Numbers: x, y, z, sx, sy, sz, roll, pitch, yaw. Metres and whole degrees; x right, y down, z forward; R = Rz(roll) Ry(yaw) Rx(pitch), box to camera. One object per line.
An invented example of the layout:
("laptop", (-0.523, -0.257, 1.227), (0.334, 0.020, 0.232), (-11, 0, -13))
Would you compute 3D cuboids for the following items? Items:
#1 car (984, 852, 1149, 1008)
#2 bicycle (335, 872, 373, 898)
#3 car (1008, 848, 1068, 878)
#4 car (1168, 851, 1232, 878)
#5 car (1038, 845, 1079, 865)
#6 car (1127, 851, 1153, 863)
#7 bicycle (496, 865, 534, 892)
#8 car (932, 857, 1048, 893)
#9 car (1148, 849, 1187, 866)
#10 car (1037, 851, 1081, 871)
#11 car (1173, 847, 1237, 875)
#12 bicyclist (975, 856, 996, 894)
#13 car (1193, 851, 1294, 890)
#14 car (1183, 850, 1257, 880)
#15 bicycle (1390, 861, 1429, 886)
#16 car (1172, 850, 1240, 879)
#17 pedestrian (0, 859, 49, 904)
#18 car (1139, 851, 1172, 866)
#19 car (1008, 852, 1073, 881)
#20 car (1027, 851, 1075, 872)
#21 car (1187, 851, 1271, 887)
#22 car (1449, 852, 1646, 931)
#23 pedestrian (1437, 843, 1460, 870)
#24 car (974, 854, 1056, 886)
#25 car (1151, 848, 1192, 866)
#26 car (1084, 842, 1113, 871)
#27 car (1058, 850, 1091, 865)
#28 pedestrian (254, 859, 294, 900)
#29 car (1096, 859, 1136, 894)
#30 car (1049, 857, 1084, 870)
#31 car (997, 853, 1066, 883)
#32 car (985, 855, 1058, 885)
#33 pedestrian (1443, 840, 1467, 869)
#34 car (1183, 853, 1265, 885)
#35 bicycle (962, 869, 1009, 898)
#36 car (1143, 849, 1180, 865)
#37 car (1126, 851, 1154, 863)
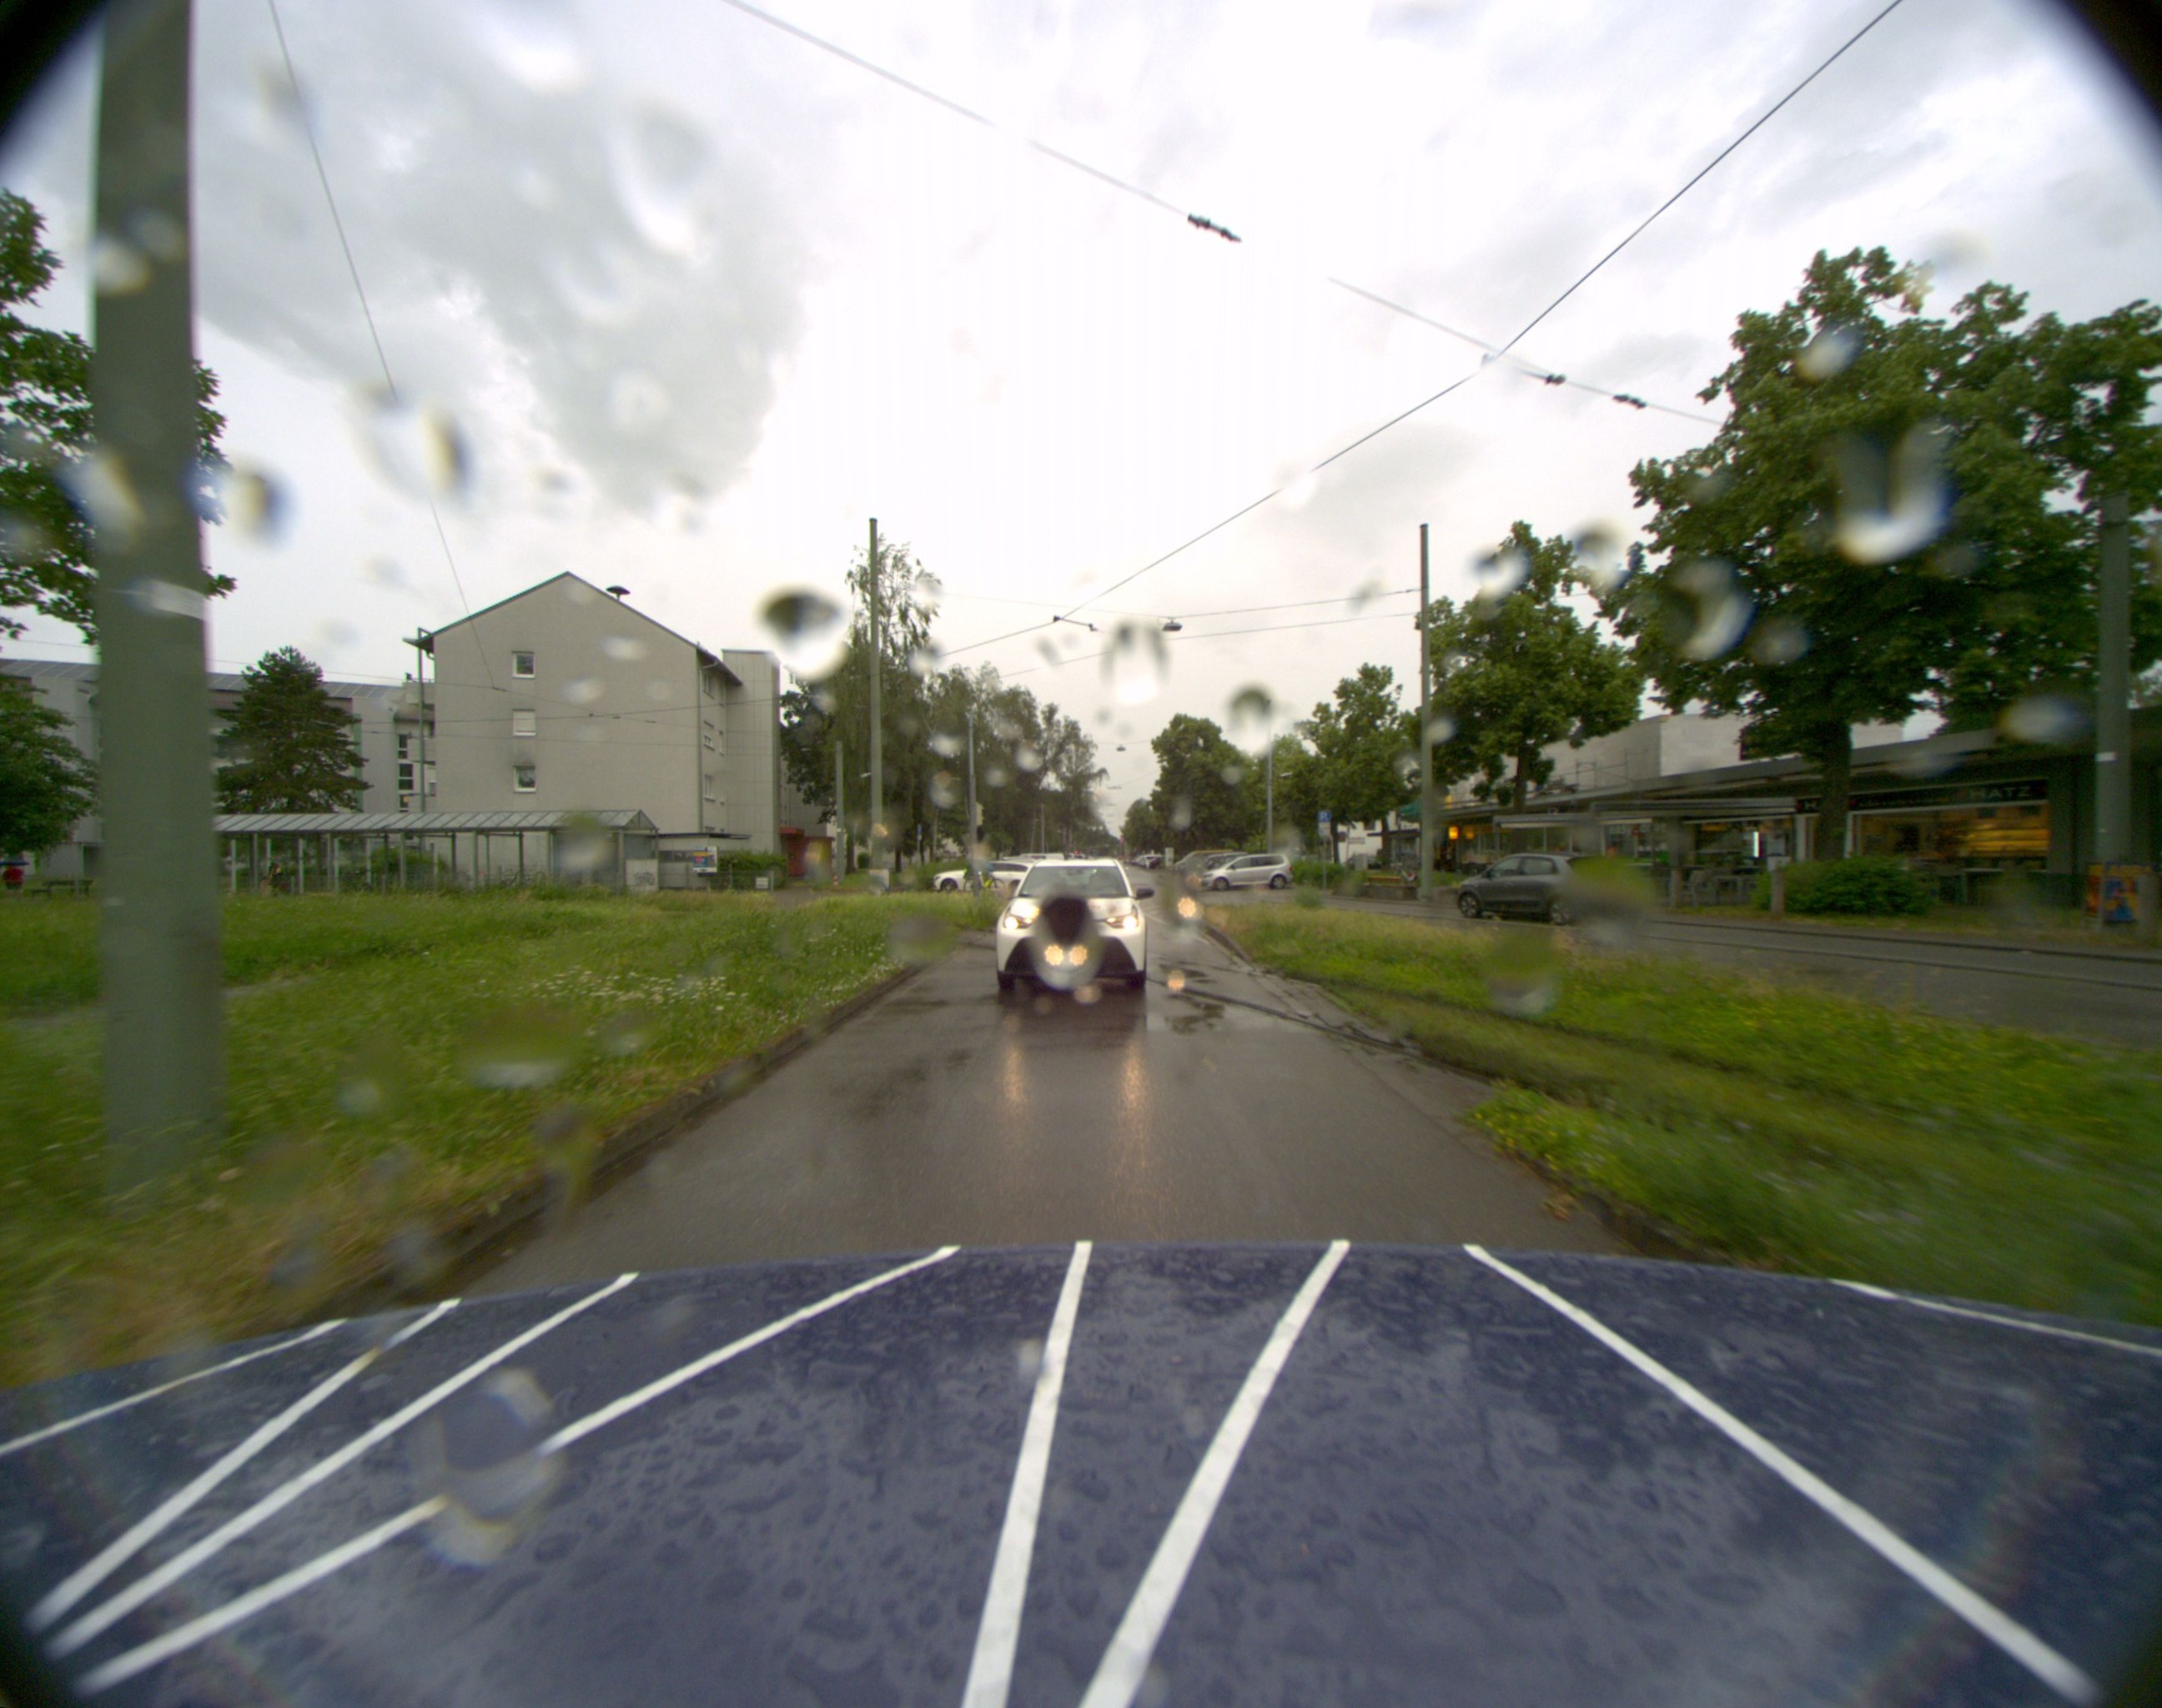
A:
("car", (-0.062, 0.866, 9.903), (1.719, 1.613, 3.717), (-1, -2, 3))
("bicycle", (-28.015, 1.171, 29.306), (0.418, 0.942, 1.306), (-3, 0, -14))
("car", (-3.223, 0.694, 57.594), (4.443, 2.050, 1.722), (-3, 1, -1))
("car", (8.572, 0.727, 54.902), (4.302, 1.799, 1.899), (-2, 0, 1))
("car", (-2.517, 0.125, 84.347), (4.443, 2.050, 1.722), (-3, 1, -1))
("car", (10.592, 0.527, 136.689), (4.545, 1.931, 1.899), (-2, 0, 1))
("bicycle", (-21.587, 0.936, 29.006), (0.377, 0.950, 1.238), (-3, 0, 5))
("car", (-3.972, 0.924, 33.674), (4.837, 1.449, 2.000), (1, 0, 3))
("car", (10.643, 0.484, 94.025), (4.545, 1.931, 1.899), (-2, 0, 1))
("car", (-2.281, 0.697, 79.970), (4.545, 1.931, 1.899), (-2, 0, 1))
("car", (9.388, 0.521, 57.859), (4.545, 1.931, 1.899), (-2, 0, 1))
("bicyclist", (-3.911, 0.847, 30.982), (0.699, 1.507, 0.724), (-1, 0, -17))
("car", (7.696, 0.765, 36.291), (4.334, 1.664, 2.000), (-2, 0, 1))
("car", (8.414, 0.659, 46.208), (4.088, 1.699, 1.899), (-2, 0, 1))
("bicycle", (14.289, 0.842, 33.103), (0.594, 1.066, 1.748), (0, 0, -16))
("car", (8.004, 0.668, 48.925), (4.088, 1.699, 1.899), (-2, 0, 1))
("pedestrian", (-45.596, 1.169, 32.714), (1.051, 1.873, 1.192), (-2, 1, 29))
("car", (10.683, 0.609, 109.478), (4.545, 1.931, 1.899), (-2, 0, 1))
("car", (-2.892, 0.892, 54.752), (4.441, 1.835, 1.723), (-3, 1, 3))
("car", (-2.910, 0.748, 74.625), (4.545, 1.931, 1.899), (-2, 0, 1))
("car", (7.536, 0.763, 38.960), (3.944, 1.664, 1.794), (-2, 0, 1))
("car", (10.228, 0.764, 16.985), (1.553, 1.494, 3.618), (-3, 0, -16))
("pedestrian", (22.358, 0.149, 46.285), (1.078, 1.575, 0.949), (0, 1, 13))
("car", (-3.419, 0.836, 39.762), (3.996, 1.477, 1.723), (-3, 0, 3))
("car", (10.621, 0.361, 89.425), (4.545, 1.931, 1.899), (-2, 0, 1))
("car", (1.289, 0.175, 56.166), (1.998, 2.002, 4.000), (-3, 0, 1))
("car", (-0.880, 0.463, 105.961), (4.545, 2.013, 1.899), (-2, 0, 1))
("pedestrian", (-31.806, 1.002, 29.944), (0.636, 1.563, 0.789), (-3, 1, 1))
("car", (1.918, 1.148, 40.590), (1.961, 1.544, 4.000), (-1, 2, 4))
("car", (-1.865, 1.204, 98.737), (4.545, 1.574, 1.899), (-2, 0, 1))
("car", (-3.379, 0.934, 52.467), (4.441, 1.835, 1.723), (-3, 1, 3))
("car", (-3.473, 0.920, 44.855), (3.996, 1.576, 1.723), (-3, 0, 3))
("pedestrian", (22.225, 0.039, 45.173), (1.078, 1.704, 0.949), (0, 1, 13))
("car", (7.813, 0.808, 41.850), (4.088, 1.562, 2.000), (-2, 0, 1))
("bicycle", (-3.892, 1.190, 30.968), (1.755, 1.123, 0.727), (-1, -1, -17))
("car", (10.478, 0.343, 99.187), (4.545, 1.931, 1.899), (-2, 0, 1))
("car", (10.063, 0.571, 129.866), (4.545, 1.931, 1.899), (-2, 0, 1))
